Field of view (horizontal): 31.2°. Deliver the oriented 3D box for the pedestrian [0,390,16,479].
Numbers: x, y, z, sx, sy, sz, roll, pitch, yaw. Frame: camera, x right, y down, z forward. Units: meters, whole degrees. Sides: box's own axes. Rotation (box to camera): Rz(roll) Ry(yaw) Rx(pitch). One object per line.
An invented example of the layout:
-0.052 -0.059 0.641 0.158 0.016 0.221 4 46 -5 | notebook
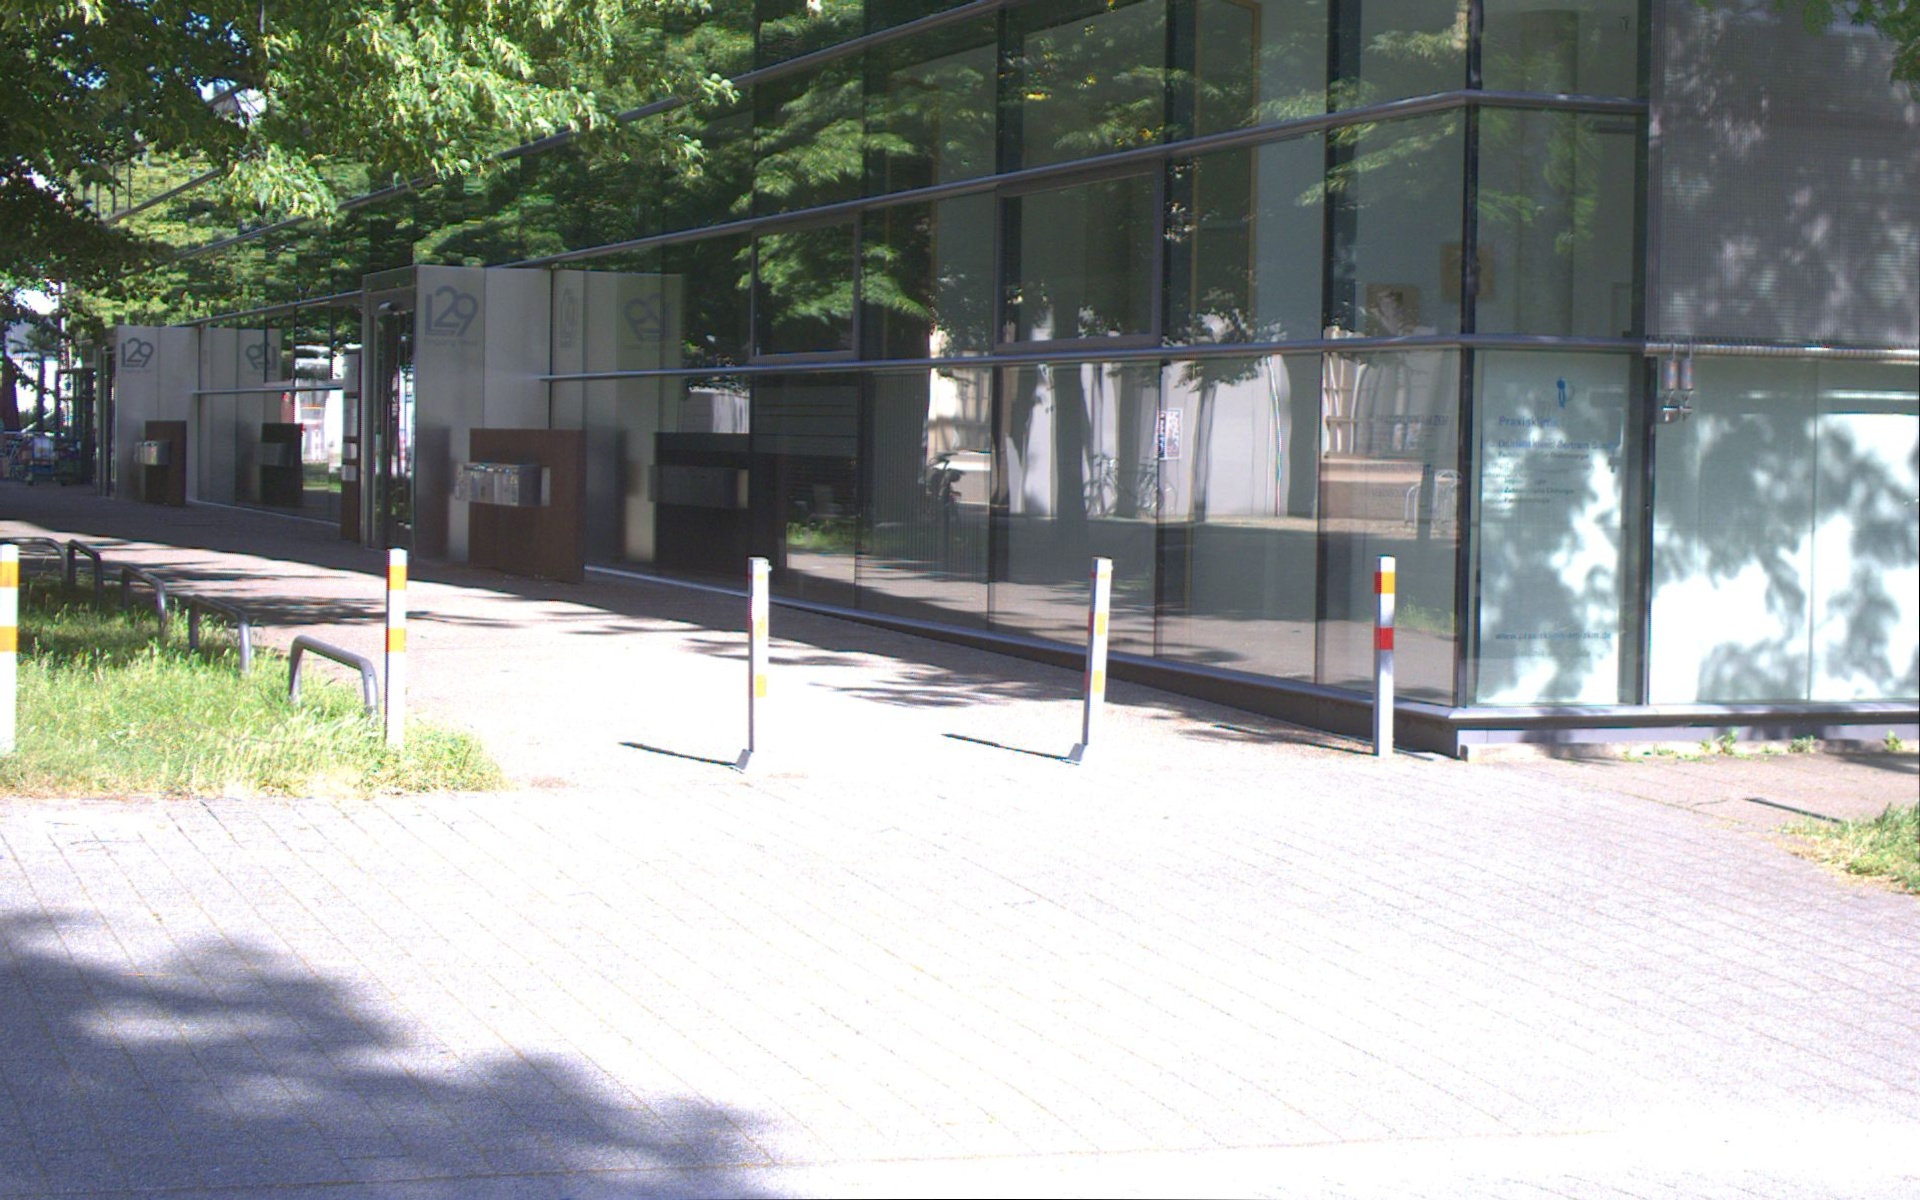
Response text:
-17.038 -2.926 60.628 0.716 1.545 0.690 1 3 -14 | pedestrian
